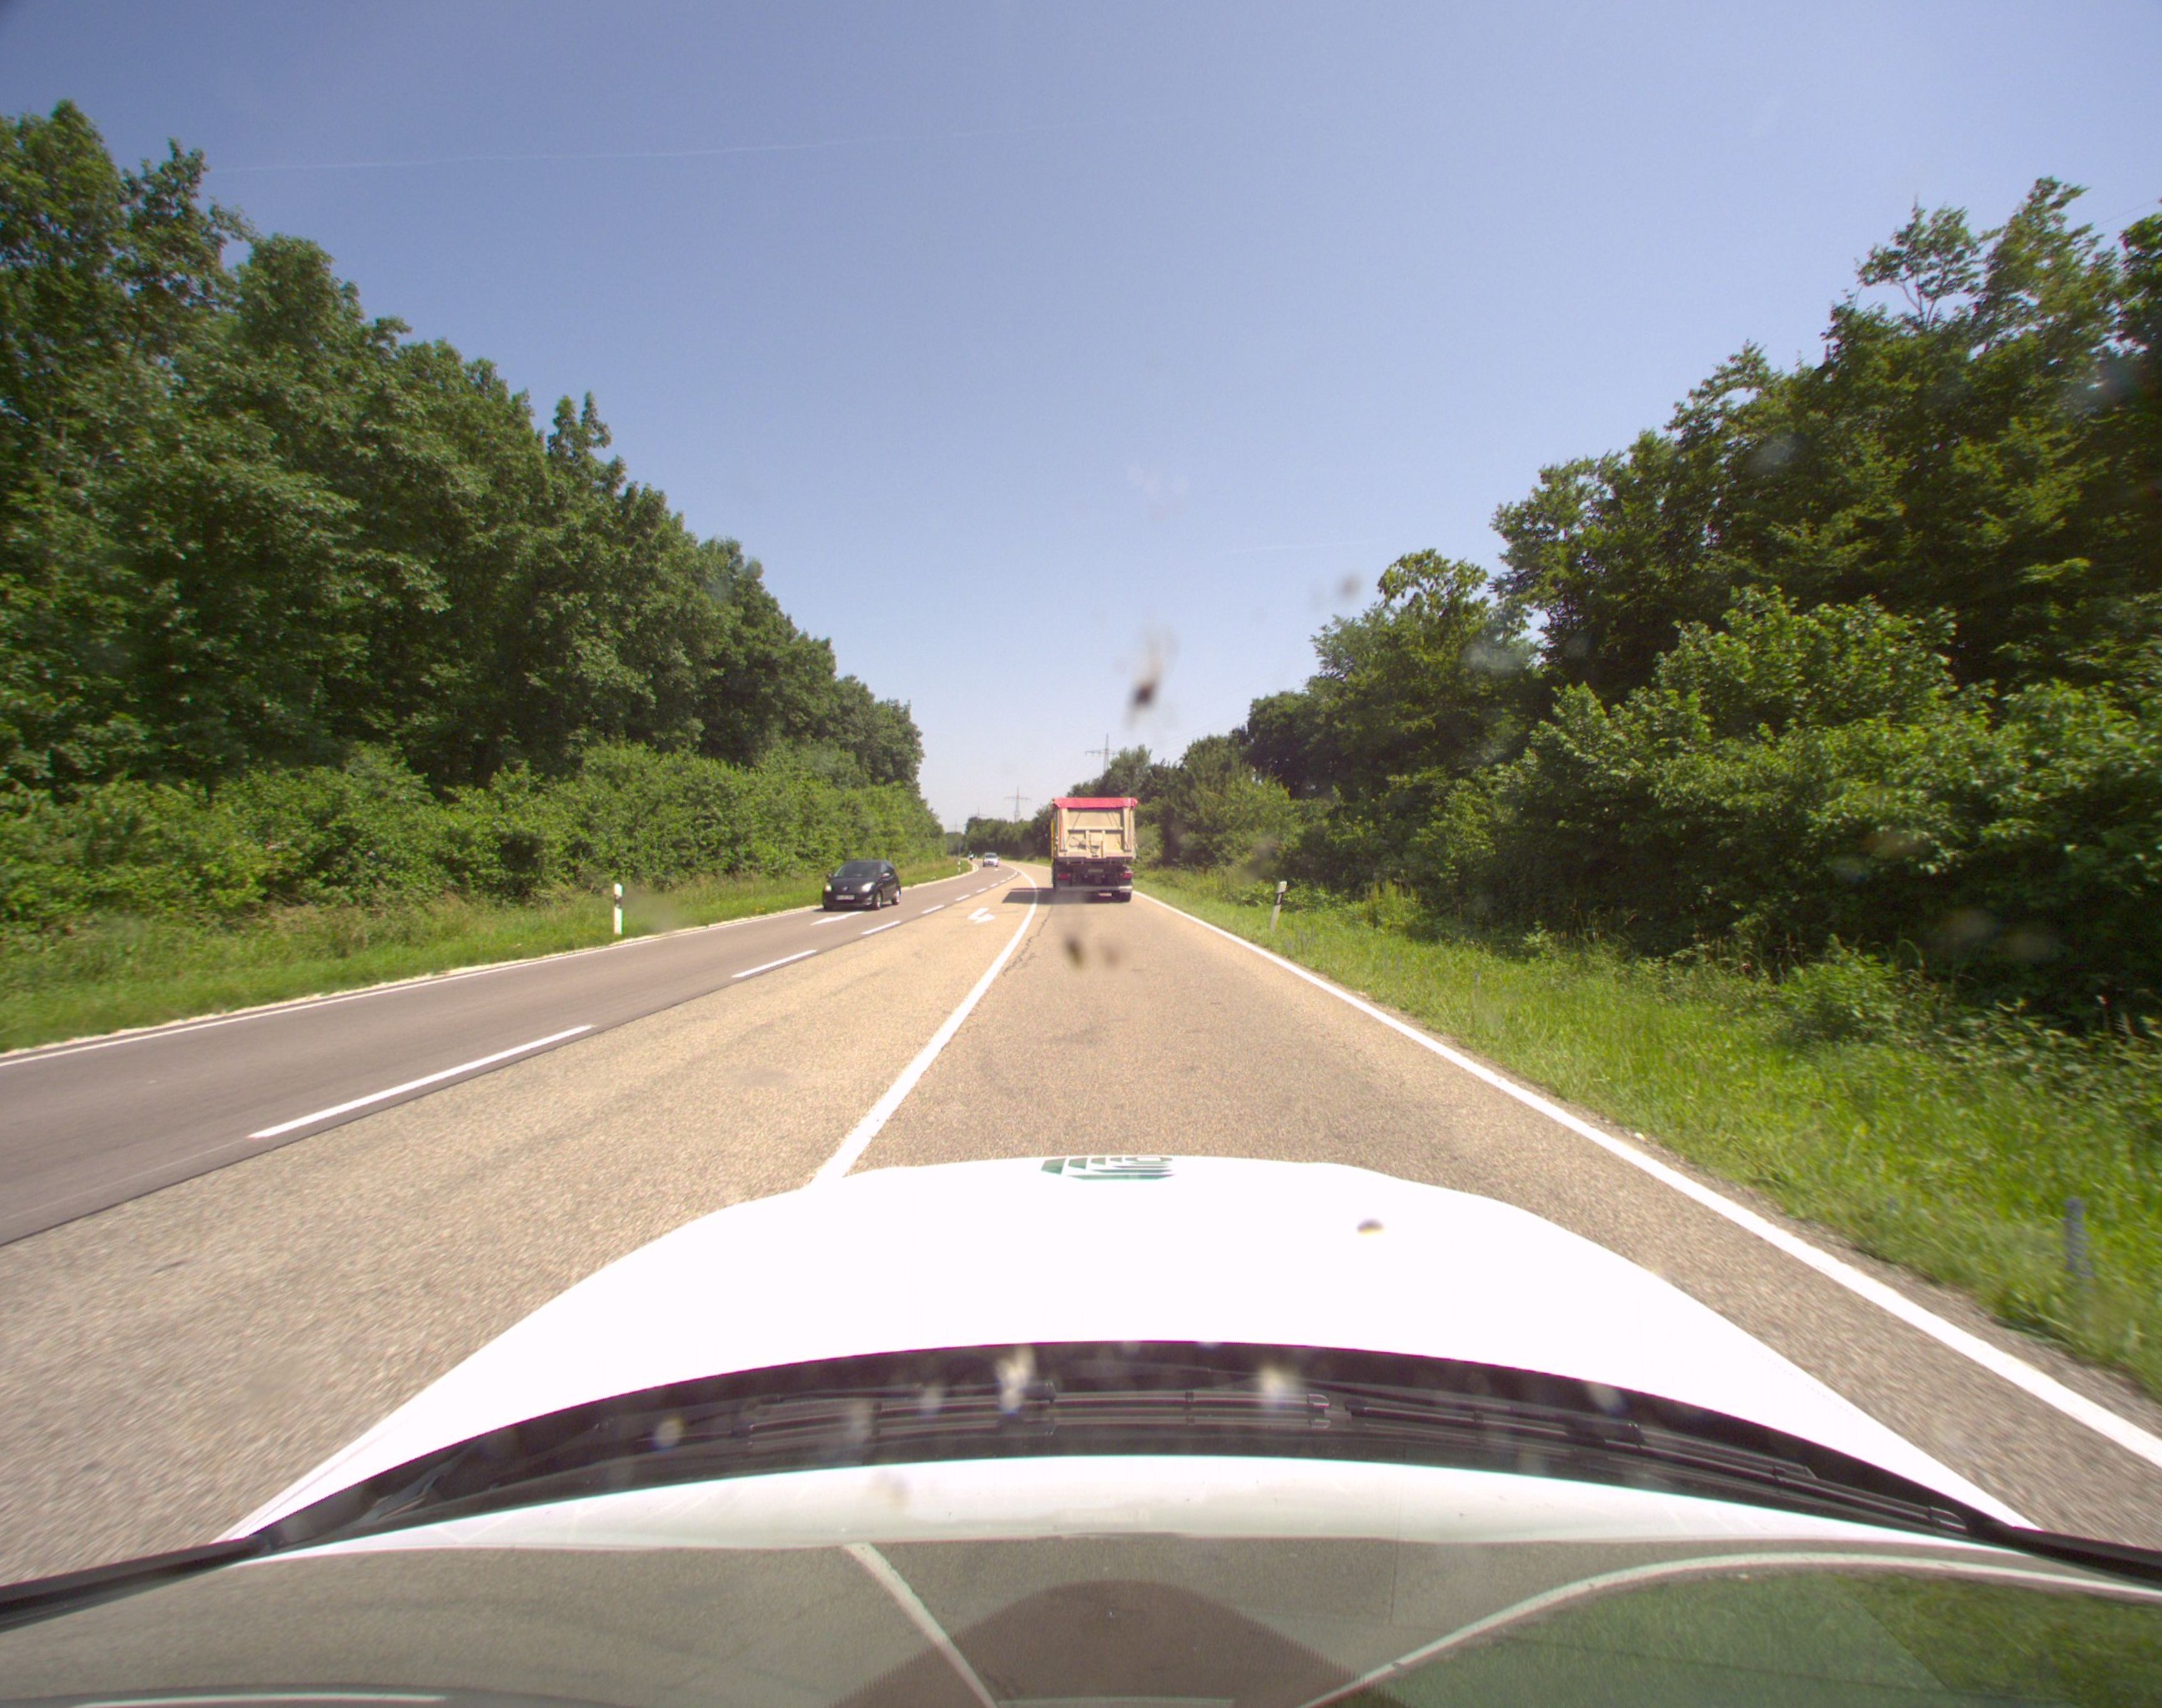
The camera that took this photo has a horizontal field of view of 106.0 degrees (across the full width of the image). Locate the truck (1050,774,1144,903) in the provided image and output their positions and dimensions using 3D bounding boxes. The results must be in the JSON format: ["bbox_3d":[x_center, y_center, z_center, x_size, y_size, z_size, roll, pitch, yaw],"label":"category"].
[{"bbox_3d":[0.282,-0.500,31.097,2.886,3.962,11.922,0,0,-2],"label":"truck"}]

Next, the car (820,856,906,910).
[{"bbox_3d":[-6.496,0.808,24.608,1.609,1.502,3.552,0,0,1],"label":"car"}]

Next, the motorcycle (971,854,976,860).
[{"bbox_3d":[-20.126,0.537,152.343,0.946,1.251,2.675,0,0,-7],"label":"motorcycle"}]

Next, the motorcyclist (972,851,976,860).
[{"bbox_3d":[-20.097,0.281,152.867,0.830,1.752,0.621,0,0,-8],"label":"motorcyclist"}]

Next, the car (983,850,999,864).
[{"bbox_3d":[-10.713,0.378,97.084,1.799,1.636,4.206,0,0,-4],"label":"car"}]
